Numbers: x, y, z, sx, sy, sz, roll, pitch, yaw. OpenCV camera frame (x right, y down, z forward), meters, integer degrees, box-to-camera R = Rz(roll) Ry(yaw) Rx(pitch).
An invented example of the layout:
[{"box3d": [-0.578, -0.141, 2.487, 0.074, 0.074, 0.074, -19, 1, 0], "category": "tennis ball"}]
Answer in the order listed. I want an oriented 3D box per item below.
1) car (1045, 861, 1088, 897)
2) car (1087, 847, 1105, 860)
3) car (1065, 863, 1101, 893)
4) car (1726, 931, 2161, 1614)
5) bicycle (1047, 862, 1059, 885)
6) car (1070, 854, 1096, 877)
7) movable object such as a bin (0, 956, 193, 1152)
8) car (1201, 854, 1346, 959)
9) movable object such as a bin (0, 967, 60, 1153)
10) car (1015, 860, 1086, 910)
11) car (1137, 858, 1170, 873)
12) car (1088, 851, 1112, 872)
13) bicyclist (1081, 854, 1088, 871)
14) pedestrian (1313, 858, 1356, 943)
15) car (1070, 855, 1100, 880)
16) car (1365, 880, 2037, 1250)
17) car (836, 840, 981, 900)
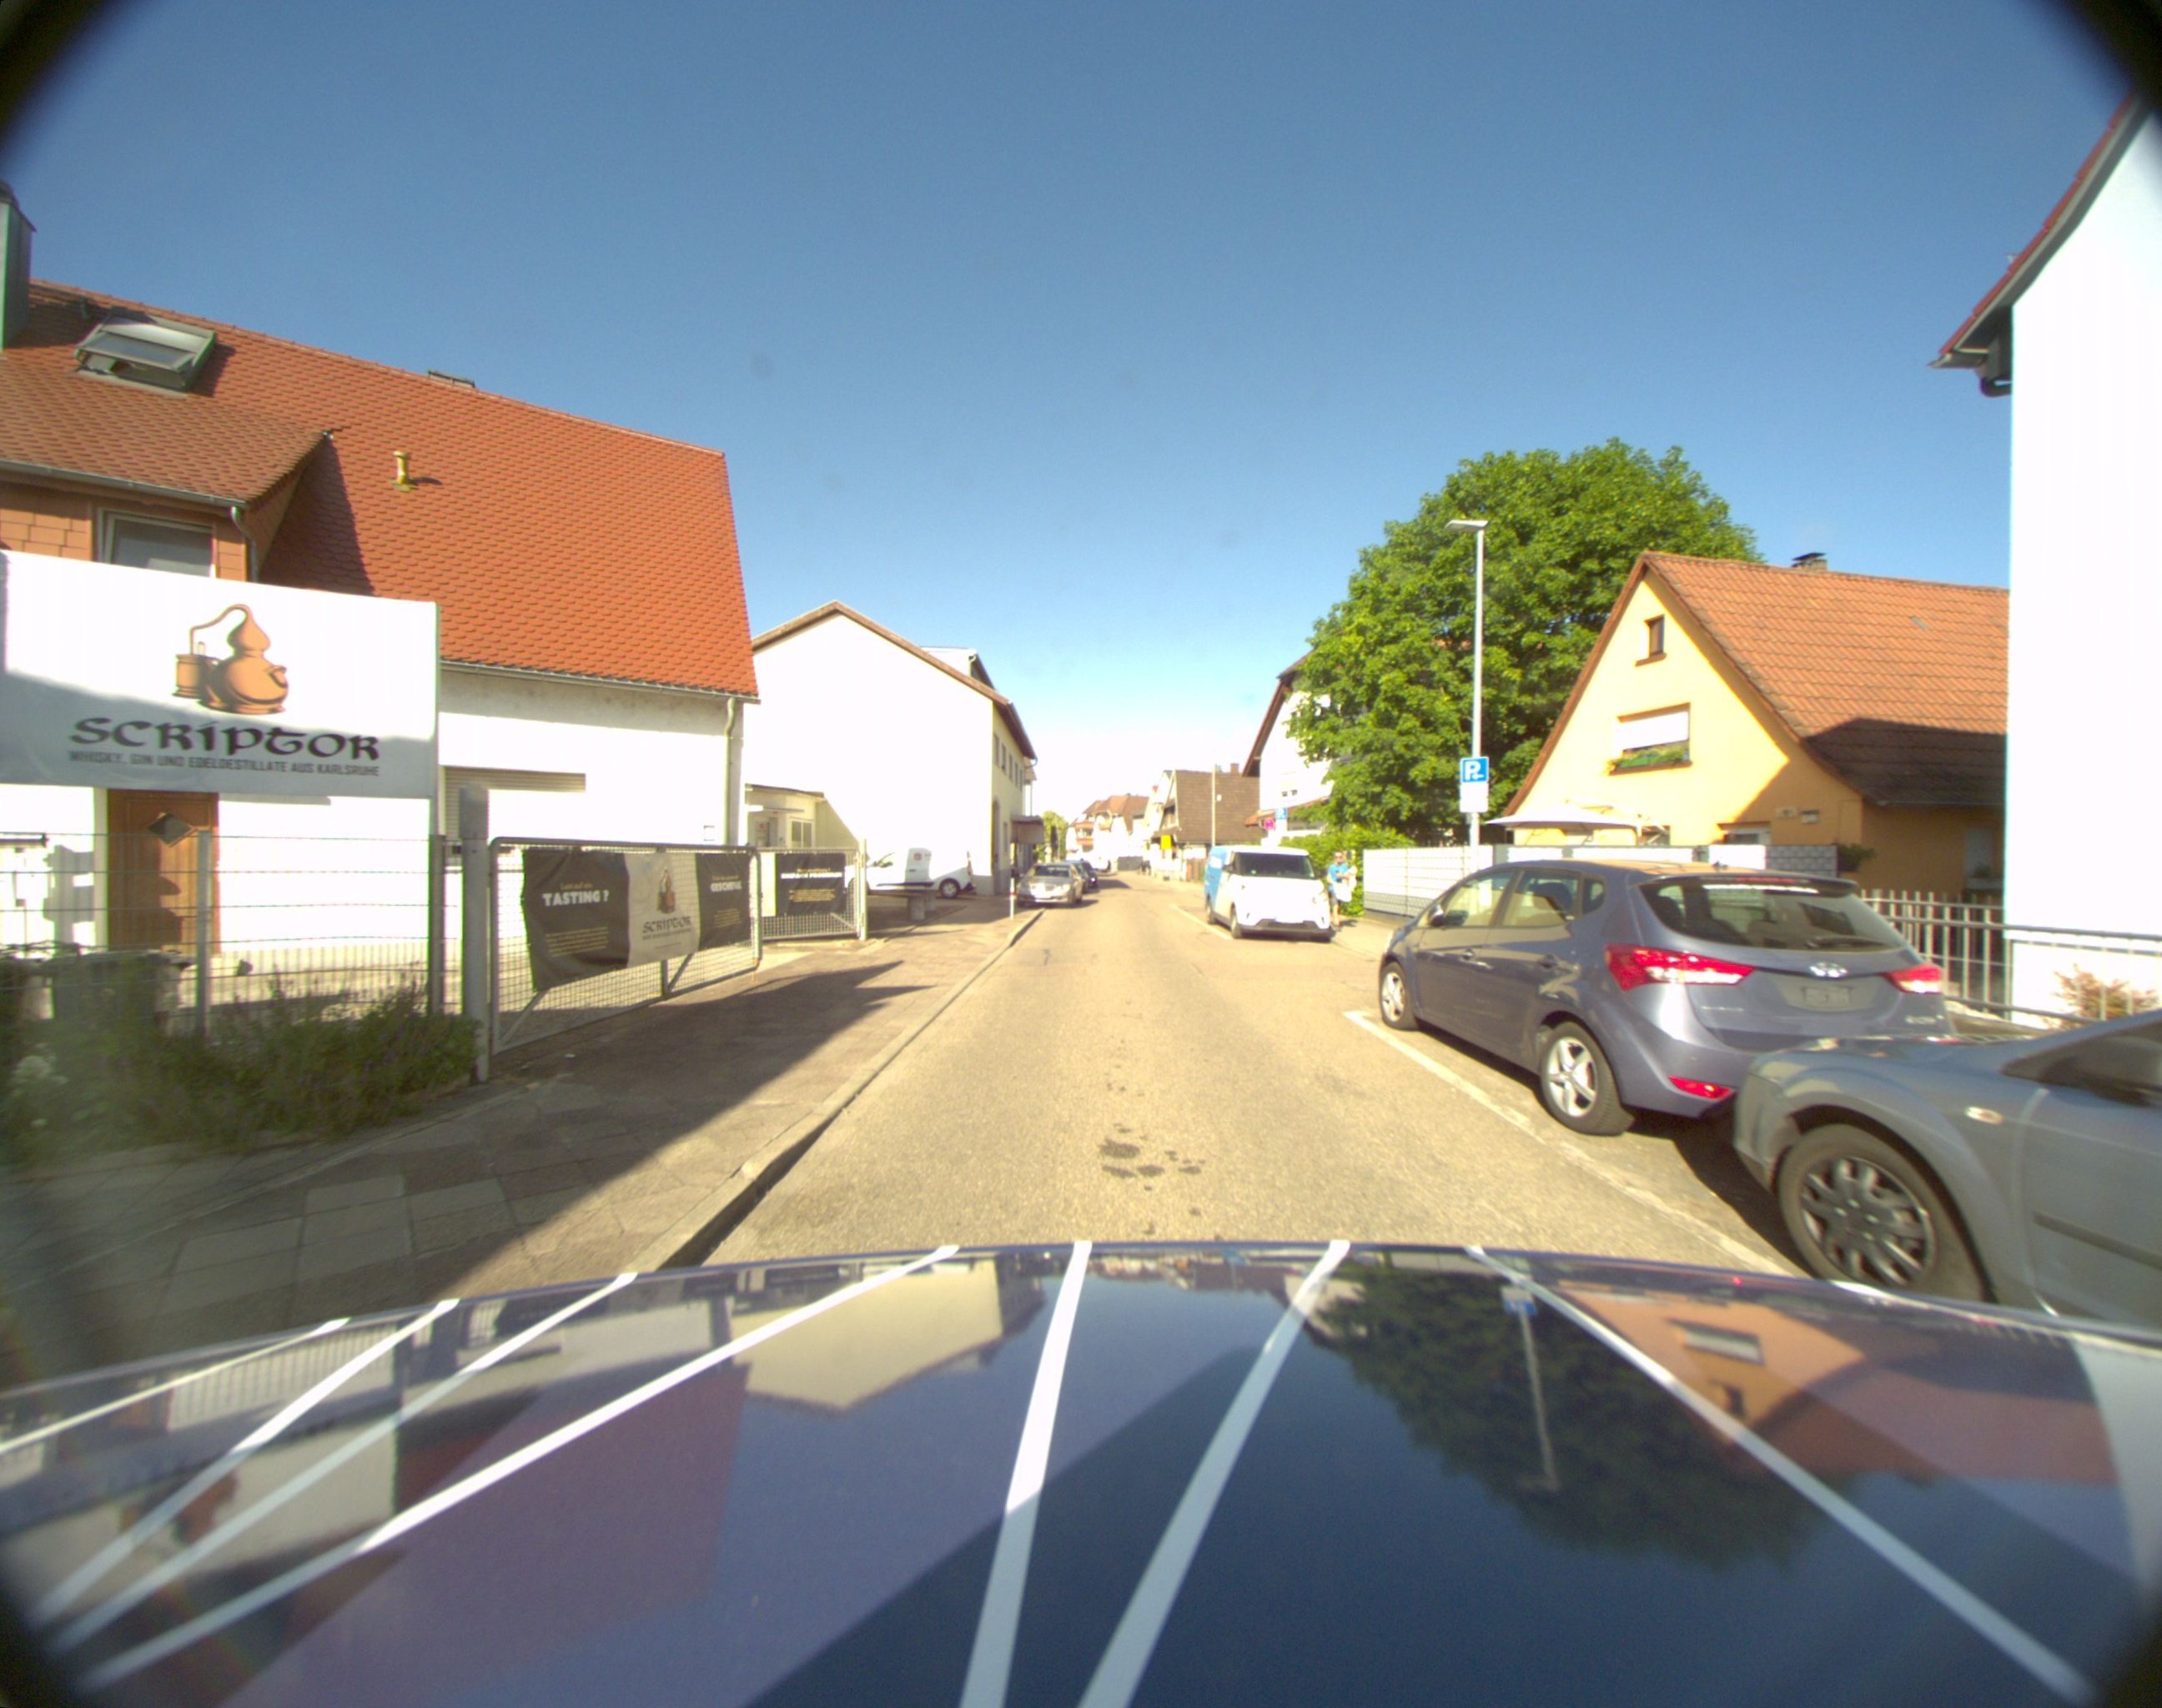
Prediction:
[{"box3d": [-0.604, 1.103, 34.836, 1.813, 1.466, 4.844, -1, 0, 0], "category": "car"}, {"box3d": [1.896, -0.048, 98.856, 1.728, 1.609, 4.109, 1, 0, -8], "category": "car"}, {"box3d": [0.118, 1.285, 41.718, 1.813, 1.466, 4.844, -1, 0, 0], "category": "car"}, {"box3d": [3.417, 1.063, 0.895, 1.716, 1.495, 4.235, 1, 0, 1], "category": "car"}, {"box3d": [-1.487, 1.020, 40.238, 0.509, 1.151, 1.507, 2, 0, 2], "category": "bicycle"}, {"box3d": [0.146, 0.759, 52.601, 1.730, 1.466, 3.875, -1, 0, 0], "category": "car"}, {"box3d": [-5.475, 1.079, 4.243, 0.517, 0.918, 0.422, -3, 2, -29], "category": "movable object such as a bin"}, {"box3d": [3.923, 0.953, 16.420, 1.907, 1.906, 5.070, 0, 0, 1], "category": "car"}, {"box3d": [-5.942, 1.103, 3.995, 0.517, 0.918, 0.422, -3, 2, -28], "category": "movable object such as a bin"}, {"box3d": [-0.930, 0.972, 25.564, 1.815, 1.466, 4.661, 1, 0, 5], "category": "car"}, {"box3d": [7.249, 1.144, 76.374, 1.695, 1.437, 4.170, -1, 0, -18], "category": "car"}, {"box3d": [2.223, 0.849, 89.548, 2.259, 2.456, 5.514, 1, 0, -4], "category": "car"}, {"box3d": [0.341, 0.843, 76.011, 0.643, 1.655, 0.605, 1, 0, -3], "category": "bicyclist"}, {"box3d": [5.350, 0.966, 16.064, 0.618, 1.739, 0.884, -1, 1, 1], "category": "pedestrian"}, {"box3d": [0.240, 0.824, 47.717, 1.813, 1.466, 4.444, -1, 0, 0], "category": "car"}, {"box3d": [3.635, 1.057, 5.531, 1.719, 1.589, 3.925, 0, 0, 1], "category": "car"}, {"box3d": [-6.020, 0.553, 27.000, 4.778, 1.875, 1.907, 2, 0, -8], "category": "car"}]
